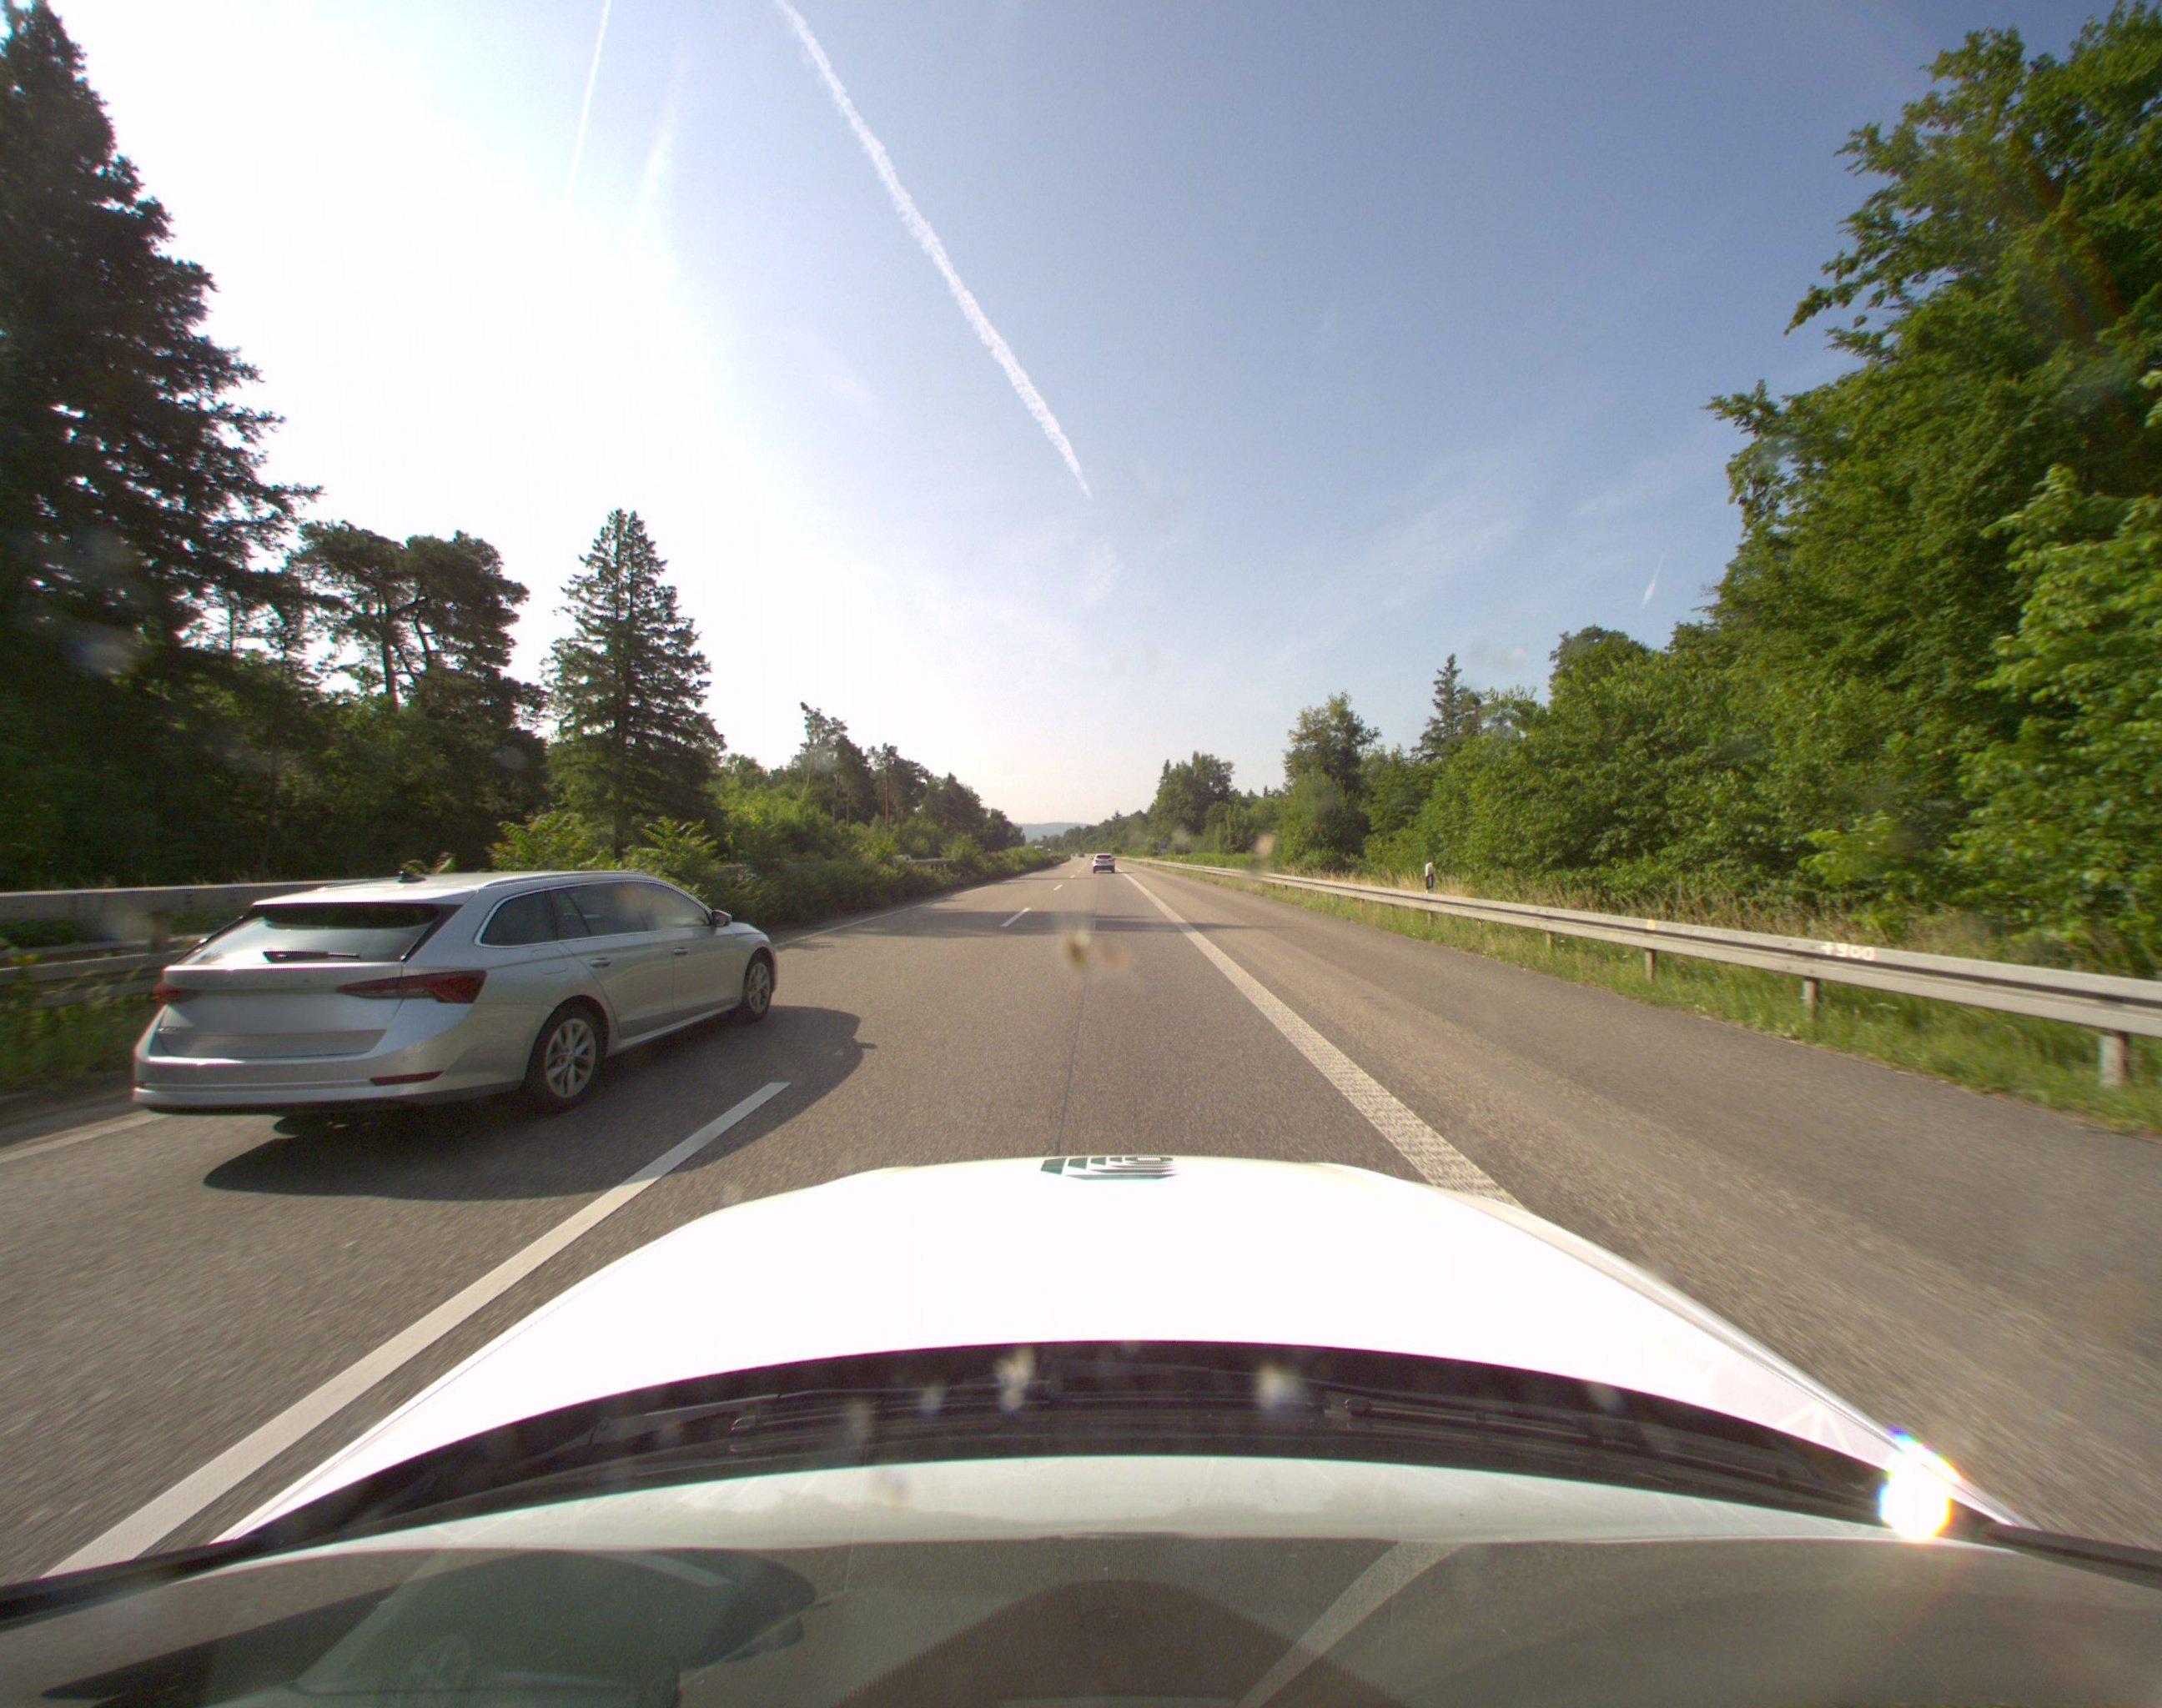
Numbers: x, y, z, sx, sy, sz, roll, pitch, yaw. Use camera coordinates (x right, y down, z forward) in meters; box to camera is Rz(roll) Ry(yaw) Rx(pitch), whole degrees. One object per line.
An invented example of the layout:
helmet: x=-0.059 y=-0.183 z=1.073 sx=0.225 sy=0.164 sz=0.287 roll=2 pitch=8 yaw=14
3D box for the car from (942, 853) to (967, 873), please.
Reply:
car: x=-13.391 y=0.951 z=86.484 sx=1.809 sy=2.014 sz=4.495 roll=0 pitch=-1 yaw=2

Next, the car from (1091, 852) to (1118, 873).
car: x=1.905 y=0.656 z=66.926 sx=1.869 sy=1.586 sz=3.997 roll=1 pitch=0 yaw=-2

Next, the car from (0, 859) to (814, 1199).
car: x=-3.929 y=0.814 z=6.333 sx=1.785 sy=1.438 sz=5.280 roll=-2 pitch=0 yaw=2
